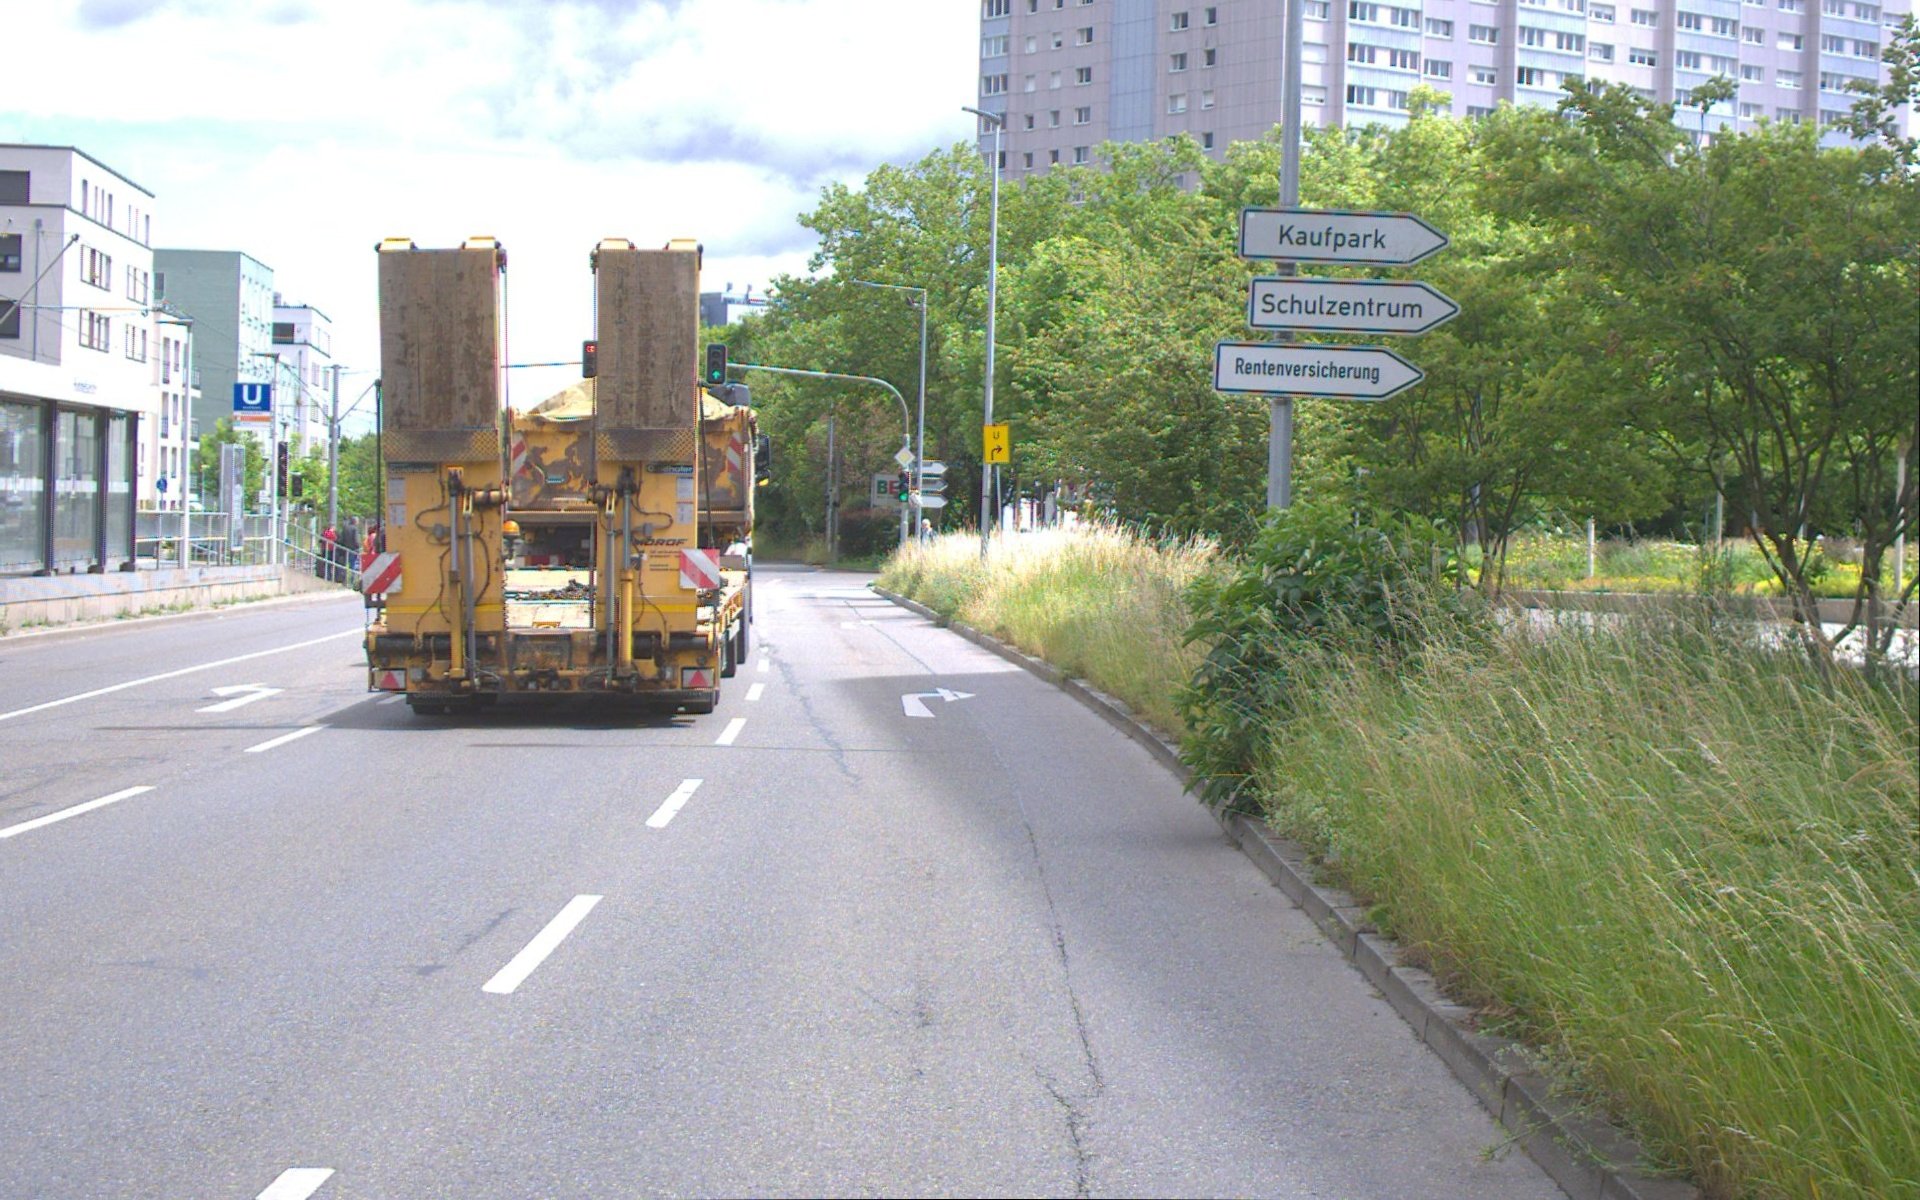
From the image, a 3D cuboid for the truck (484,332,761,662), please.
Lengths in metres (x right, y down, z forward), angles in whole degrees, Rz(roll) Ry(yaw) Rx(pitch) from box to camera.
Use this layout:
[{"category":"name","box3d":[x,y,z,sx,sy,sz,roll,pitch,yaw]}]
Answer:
[{"category":"truck","box3d":[-3.710,-1.148,39.397,2.753,3.302,8.353,1,1,-4]}]

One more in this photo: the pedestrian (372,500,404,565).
[{"category":"pedestrian","box3d":[-14.407,-1.705,86.647,0.681,1.597,0.823,1,1,-4]}]

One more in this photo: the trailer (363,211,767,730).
[{"category":"trailer","box3d":[-3.084,-1.025,29.633,2.729,3.546,11.255,1,1,-3]}]

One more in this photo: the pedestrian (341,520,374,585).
[{"category":"pedestrian","box3d":[-14.989,-1.191,85.524,0.681,1.597,0.823,1,1,-4]}]

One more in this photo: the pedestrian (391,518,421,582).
[{"category":"pedestrian","box3d":[-14.546,-1.316,90.318,0.681,1.664,0.823,1,1,-4]}]

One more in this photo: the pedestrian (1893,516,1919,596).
[{"category":"pedestrian","box3d":[23.278,-1.089,84.355,0.575,1.944,0.406,1,1,-3]}]

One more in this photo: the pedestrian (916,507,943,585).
[{"category":"pedestrian","box3d":[-0.783,-1.400,89.137,0.561,2.007,0.492,1,0,-12]}]
